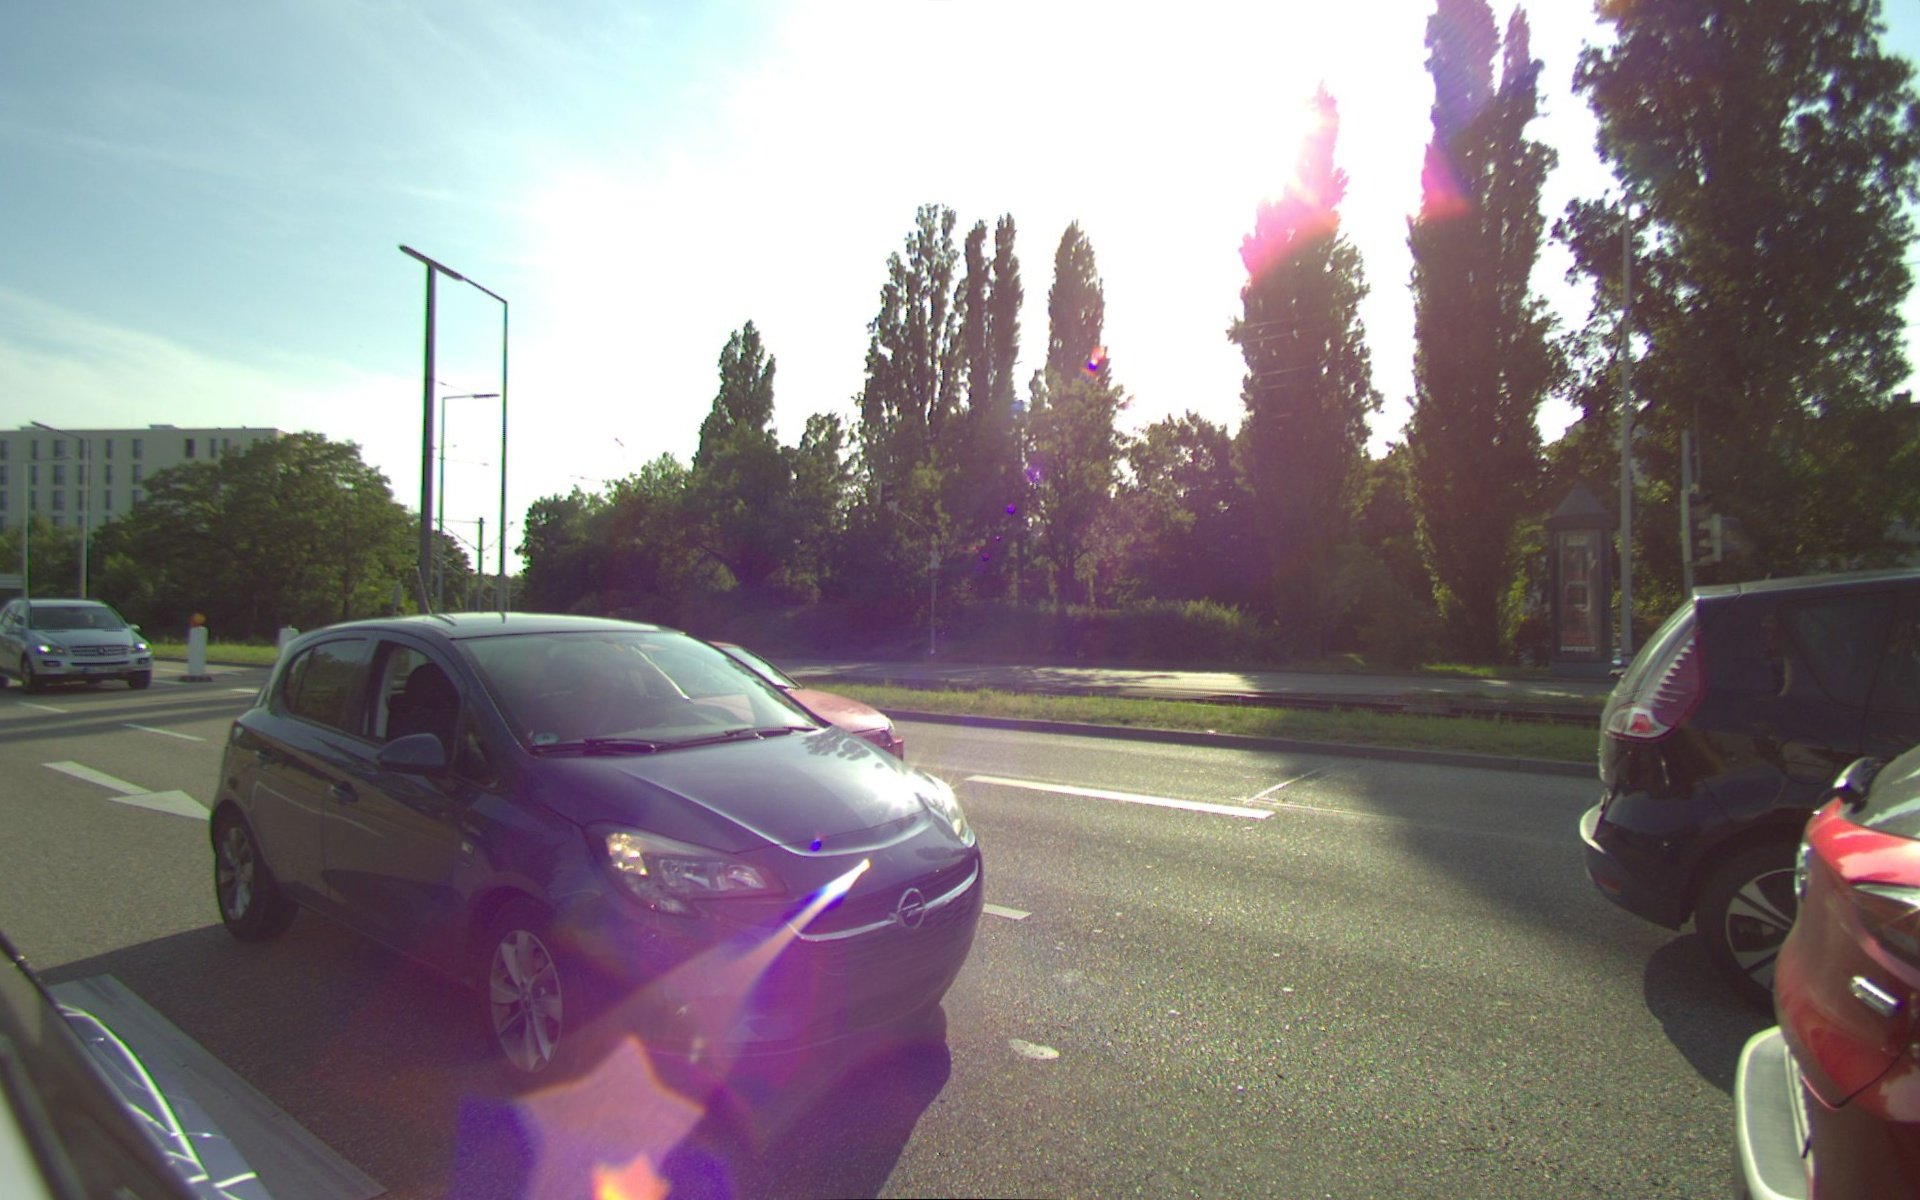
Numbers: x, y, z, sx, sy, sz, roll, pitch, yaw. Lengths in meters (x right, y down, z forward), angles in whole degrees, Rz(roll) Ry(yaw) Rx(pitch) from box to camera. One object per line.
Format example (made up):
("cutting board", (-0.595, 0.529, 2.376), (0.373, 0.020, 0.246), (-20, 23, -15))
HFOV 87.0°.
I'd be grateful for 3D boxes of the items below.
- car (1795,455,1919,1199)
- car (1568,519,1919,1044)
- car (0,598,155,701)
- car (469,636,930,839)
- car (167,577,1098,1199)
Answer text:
("car", (3.105, 0.618, 0.550), (3.971, 1.563, 1.690), (-1, -2, 37))
("car", (4.457, 0.572, 3.306), (4.077, 1.683, 1.747), (-1, -1, 37))
("car", (-18.135, 0.929, 20.352), (4.345, 1.837, 1.880), (-1, 0, 35))
("car", (-2.271, 0.948, 8.364), (3.841, 1.215, 1.715), (-1, 0, 38))
("car", (-1.681, 0.762, 4.319), (4.217, 1.517, 1.725), (-1, -2, 38))
